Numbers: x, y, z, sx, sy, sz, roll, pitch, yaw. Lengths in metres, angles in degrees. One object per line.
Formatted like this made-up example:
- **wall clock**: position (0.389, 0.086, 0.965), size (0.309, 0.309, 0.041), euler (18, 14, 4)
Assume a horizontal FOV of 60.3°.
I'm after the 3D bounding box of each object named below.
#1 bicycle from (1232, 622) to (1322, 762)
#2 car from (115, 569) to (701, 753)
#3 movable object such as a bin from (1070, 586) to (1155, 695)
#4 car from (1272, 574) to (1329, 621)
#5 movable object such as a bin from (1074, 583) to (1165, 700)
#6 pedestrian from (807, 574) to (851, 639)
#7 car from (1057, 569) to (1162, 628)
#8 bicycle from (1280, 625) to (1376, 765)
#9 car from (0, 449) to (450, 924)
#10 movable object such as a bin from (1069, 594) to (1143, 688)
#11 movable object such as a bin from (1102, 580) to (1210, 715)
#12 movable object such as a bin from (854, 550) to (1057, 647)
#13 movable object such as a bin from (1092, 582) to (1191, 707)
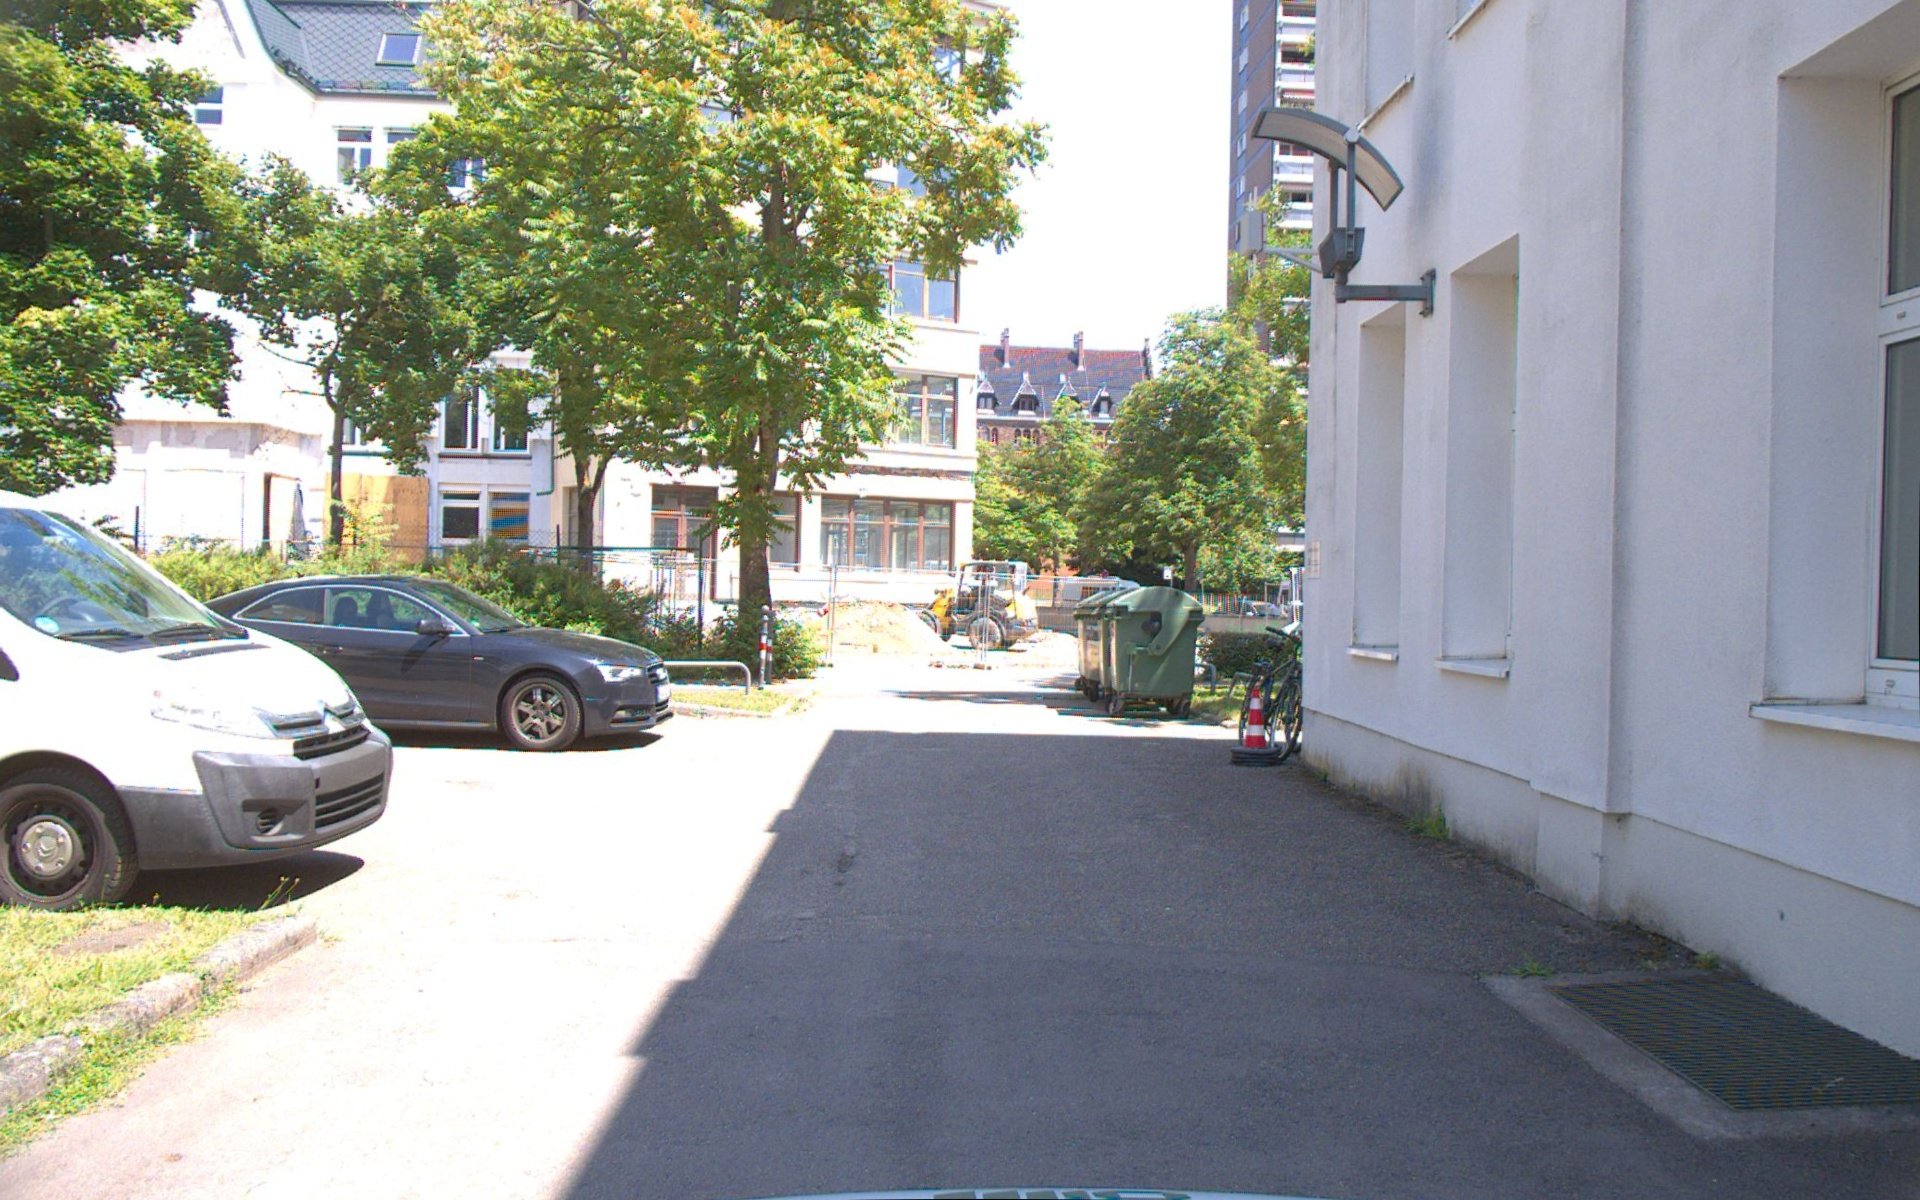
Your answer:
- **bicycle**: position (2.737, 0.762, 14.415), size (0.397, 1.121, 1.826), euler (1, 0, -1)
- **car**: position (-4.602, 0.494, 14.314), size (4.338, 1.404, 2.024), euler (1, 0, 1)
- **movable object such as a bin**: position (2.132, 0.559, 23.366), size (1.053, 1.483, 1.377), euler (1, 0, 0)
- **car**: position (17.414, -0.097, 84.428), size (2.139, 2.297, 4.869), euler (1, 0, 20)
- **movable object such as a bin**: position (2.099, 0.537, 21.944), size (1.053, 1.483, 1.377), euler (1, 0, 0)
- **pedestrian**: position (-3.827, 0.198, 48.432), size (0.963, 1.879, 0.917), euler (1, -1, 21)
- **car**: position (6.472, -0.065, 72.225), size (1.972, 2.458, 5.191), euler (1, 0, -30)
- **bicycle**: position (3.195, 0.793, 14.478), size (0.397, 1.121, 1.826), euler (1, 0, -1)
- **car**: position (-5.130, 0.325, 7.799), size (4.747, 1.916, 2.068), euler (1, 0, 1)
- **movable object such as a bin**: position (2.359, 0.652, 26.878), size (1.053, 1.483, 1.377), euler (1, 0, 0)
- **movable object such as a bin**: position (2.231, 0.527, 19.031), size (1.053, 1.483, 1.377), euler (1, 0, 0)
- **movable object such as a bin**: position (-0.145, -0.062, 47.810), size (5.300, 2.507, 2.365), euler (3, 0, 28)
- **movable object such as a bin**: position (2.229, 0.533, 20.474), size (1.053, 1.483, 1.377), euler (1, 0, 0)
